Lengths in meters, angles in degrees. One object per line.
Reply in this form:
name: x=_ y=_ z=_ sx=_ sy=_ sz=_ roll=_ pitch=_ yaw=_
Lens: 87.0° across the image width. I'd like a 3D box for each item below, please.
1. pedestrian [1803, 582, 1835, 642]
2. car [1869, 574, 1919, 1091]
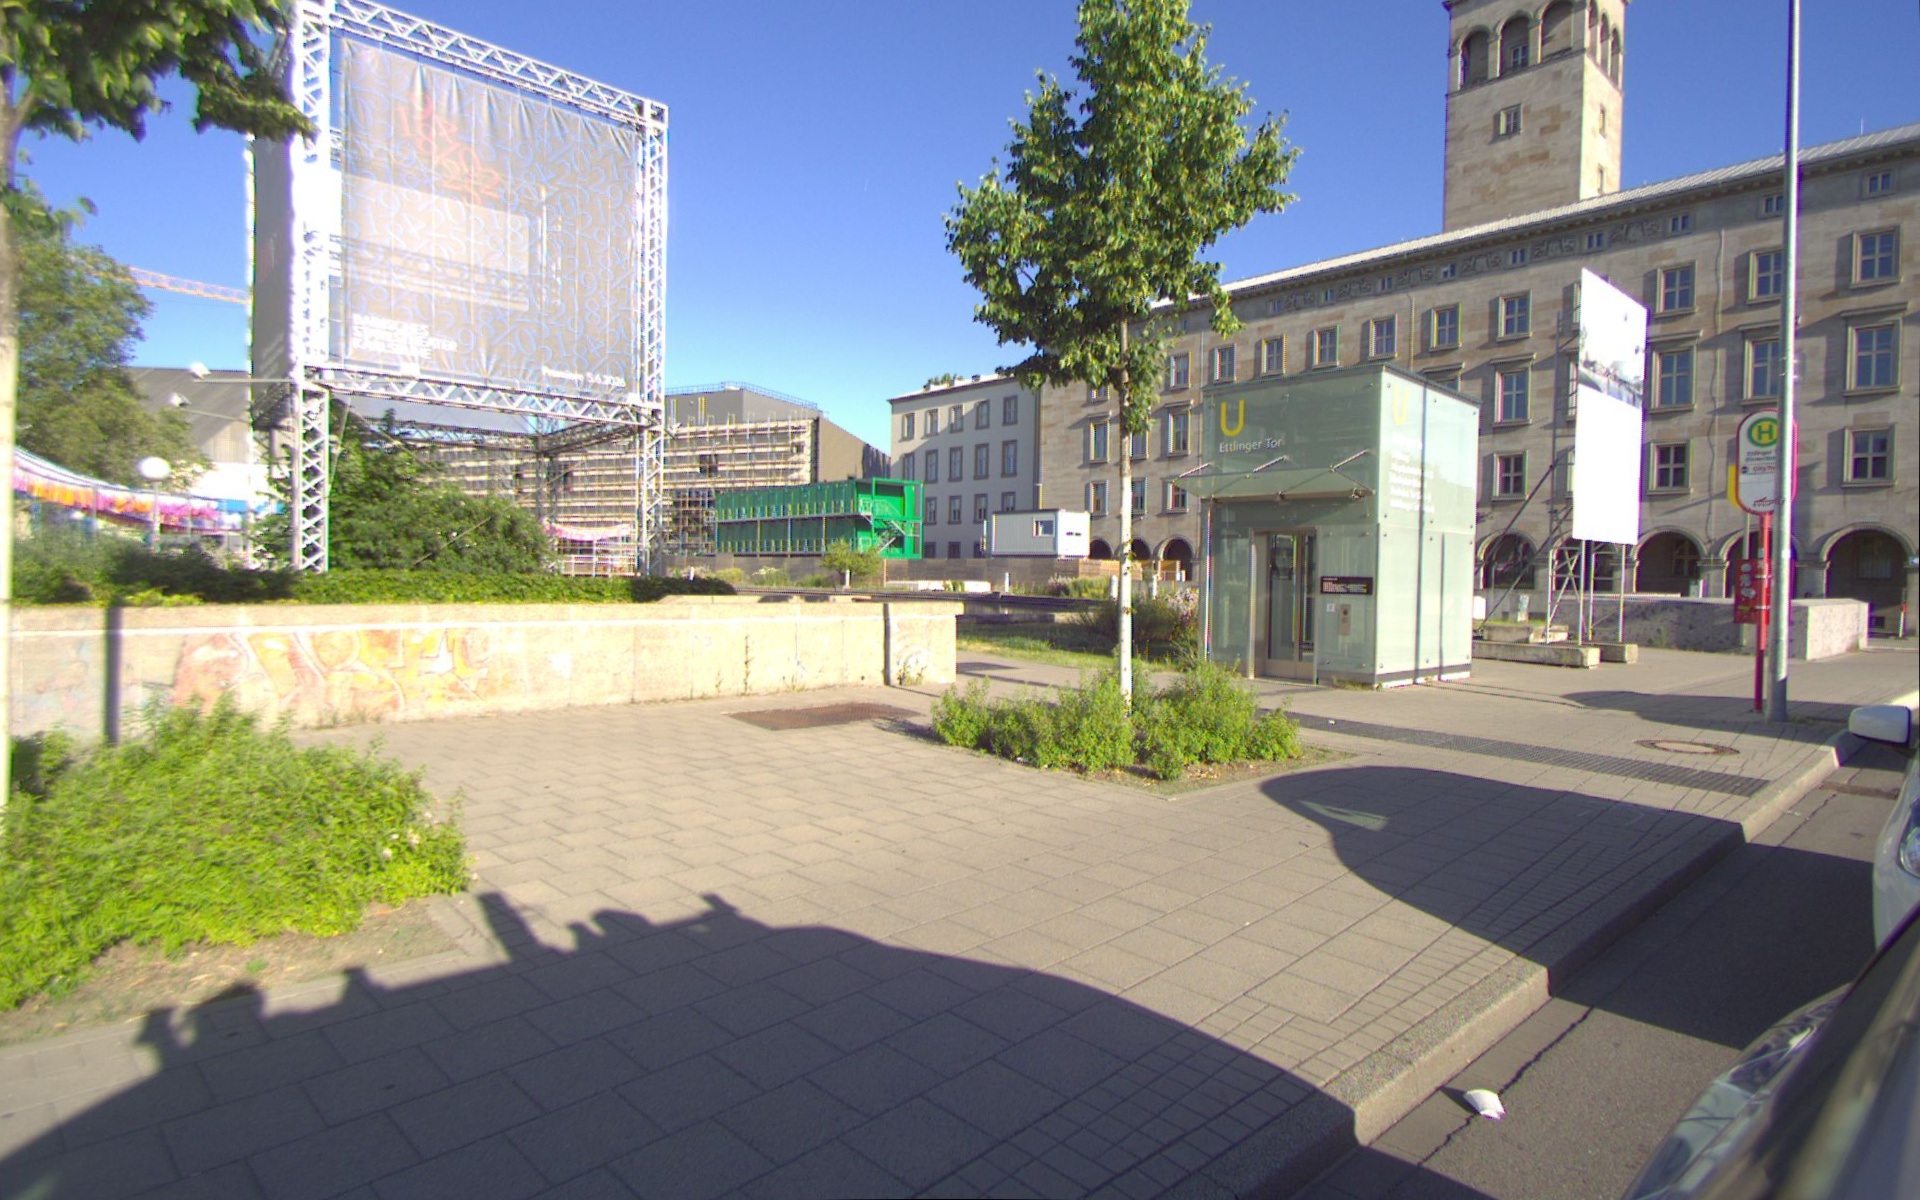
pedestrian: x=25.232 y=0.330 z=29.723 sx=0.572 sy=1.732 sz=0.595 roll=0 pitch=1 yaw=-41
car: x=4.648 y=0.678 z=3.668 sx=3.930 sy=1.473 sz=1.518 roll=0 pitch=2 yaw=-41
